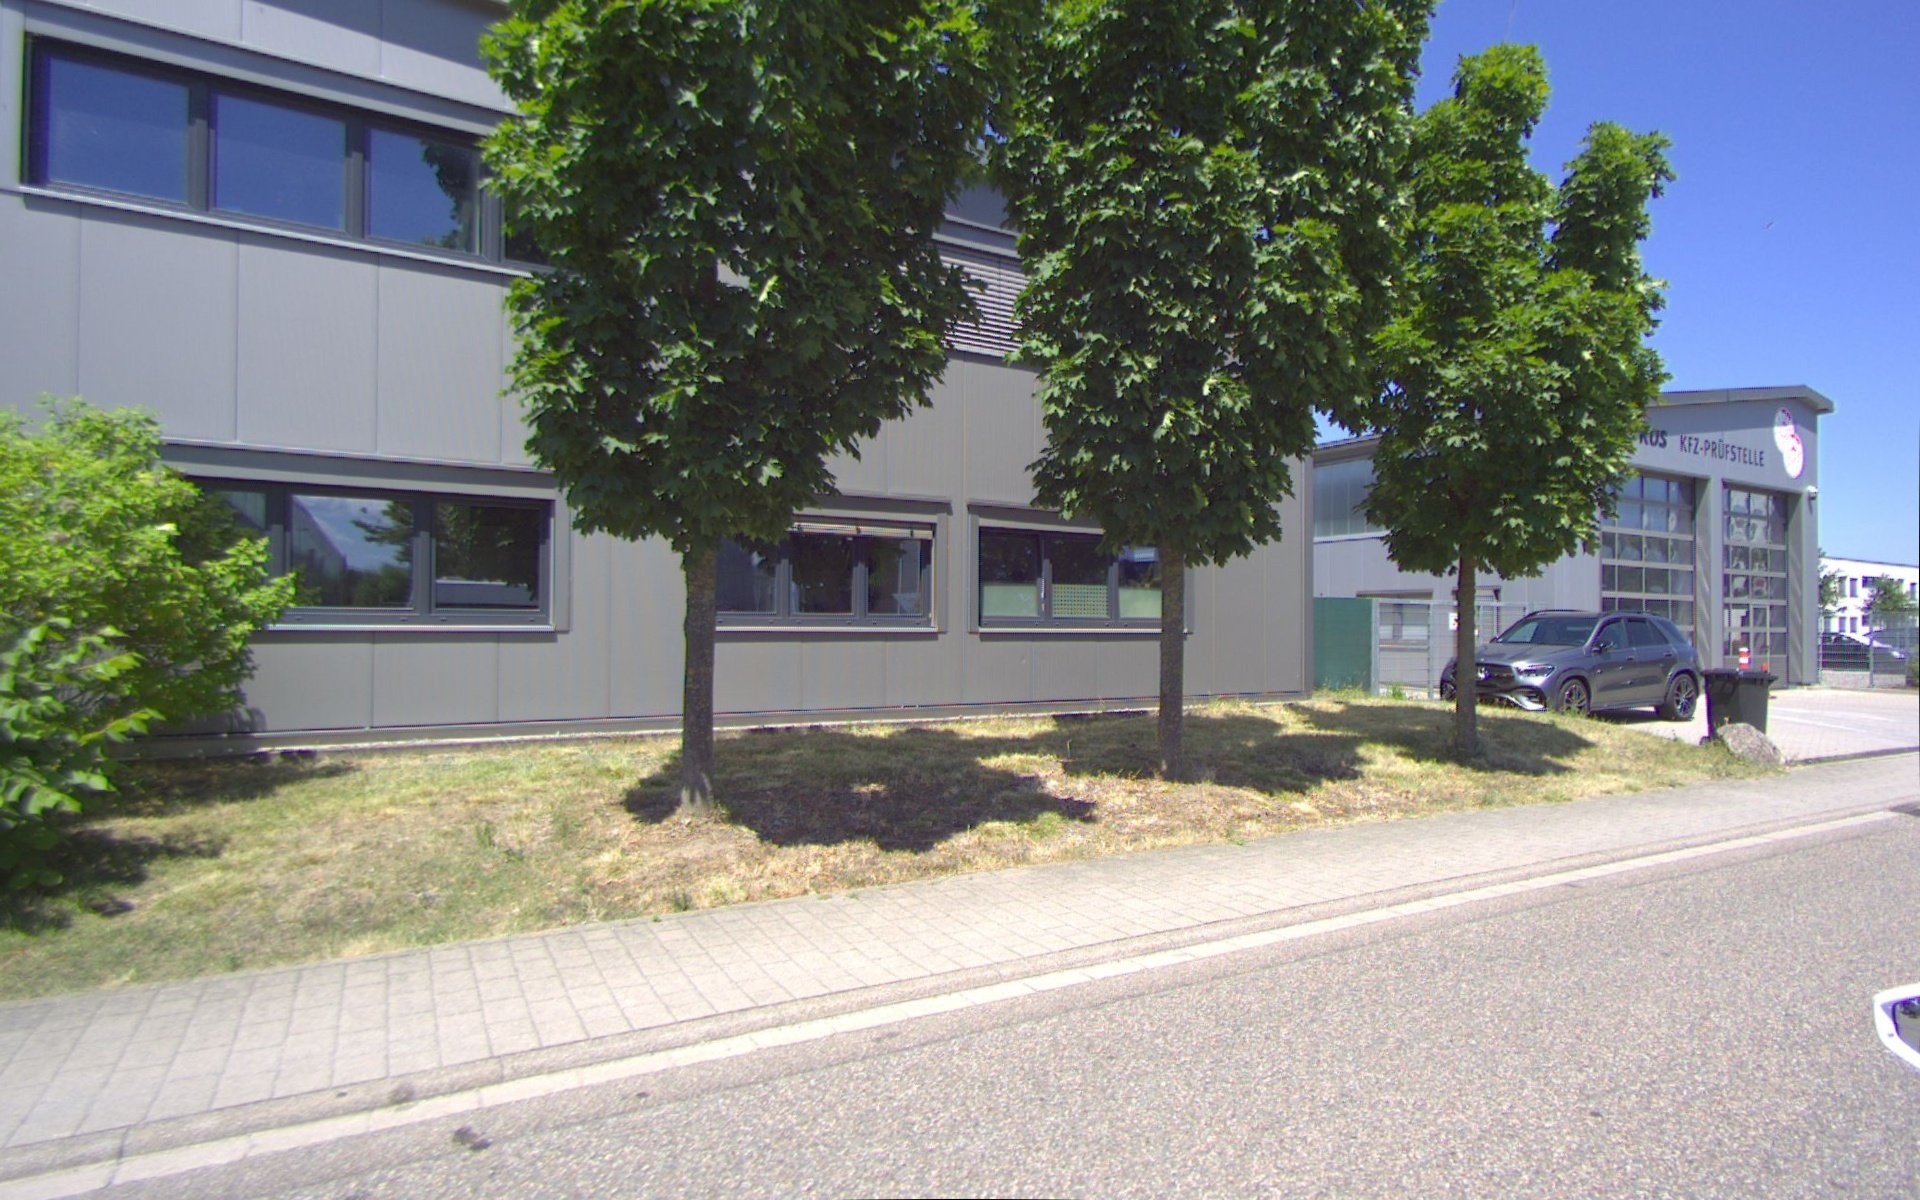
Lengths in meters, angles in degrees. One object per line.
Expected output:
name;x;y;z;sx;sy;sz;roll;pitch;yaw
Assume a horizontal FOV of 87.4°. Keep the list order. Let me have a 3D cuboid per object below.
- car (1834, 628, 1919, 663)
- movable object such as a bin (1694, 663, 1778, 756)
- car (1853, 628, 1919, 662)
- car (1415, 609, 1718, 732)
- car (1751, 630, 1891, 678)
car;49.854;2.429;53.998;1.894;1.840;3.969;1;-2;-30
movable object such as a bin;9.710;1.350;12.573;0.756;1.080;0.576;1;1;-30
car;51.963;2.464;55.180;1.894;1.840;3.969;1;-2;-30
car;10.018;1.045;16.547;4.848;1.759;1.987;0;0;-27
car;30.228;1.867;35.355;1.542;1.572;3.479;1;-2;-34
